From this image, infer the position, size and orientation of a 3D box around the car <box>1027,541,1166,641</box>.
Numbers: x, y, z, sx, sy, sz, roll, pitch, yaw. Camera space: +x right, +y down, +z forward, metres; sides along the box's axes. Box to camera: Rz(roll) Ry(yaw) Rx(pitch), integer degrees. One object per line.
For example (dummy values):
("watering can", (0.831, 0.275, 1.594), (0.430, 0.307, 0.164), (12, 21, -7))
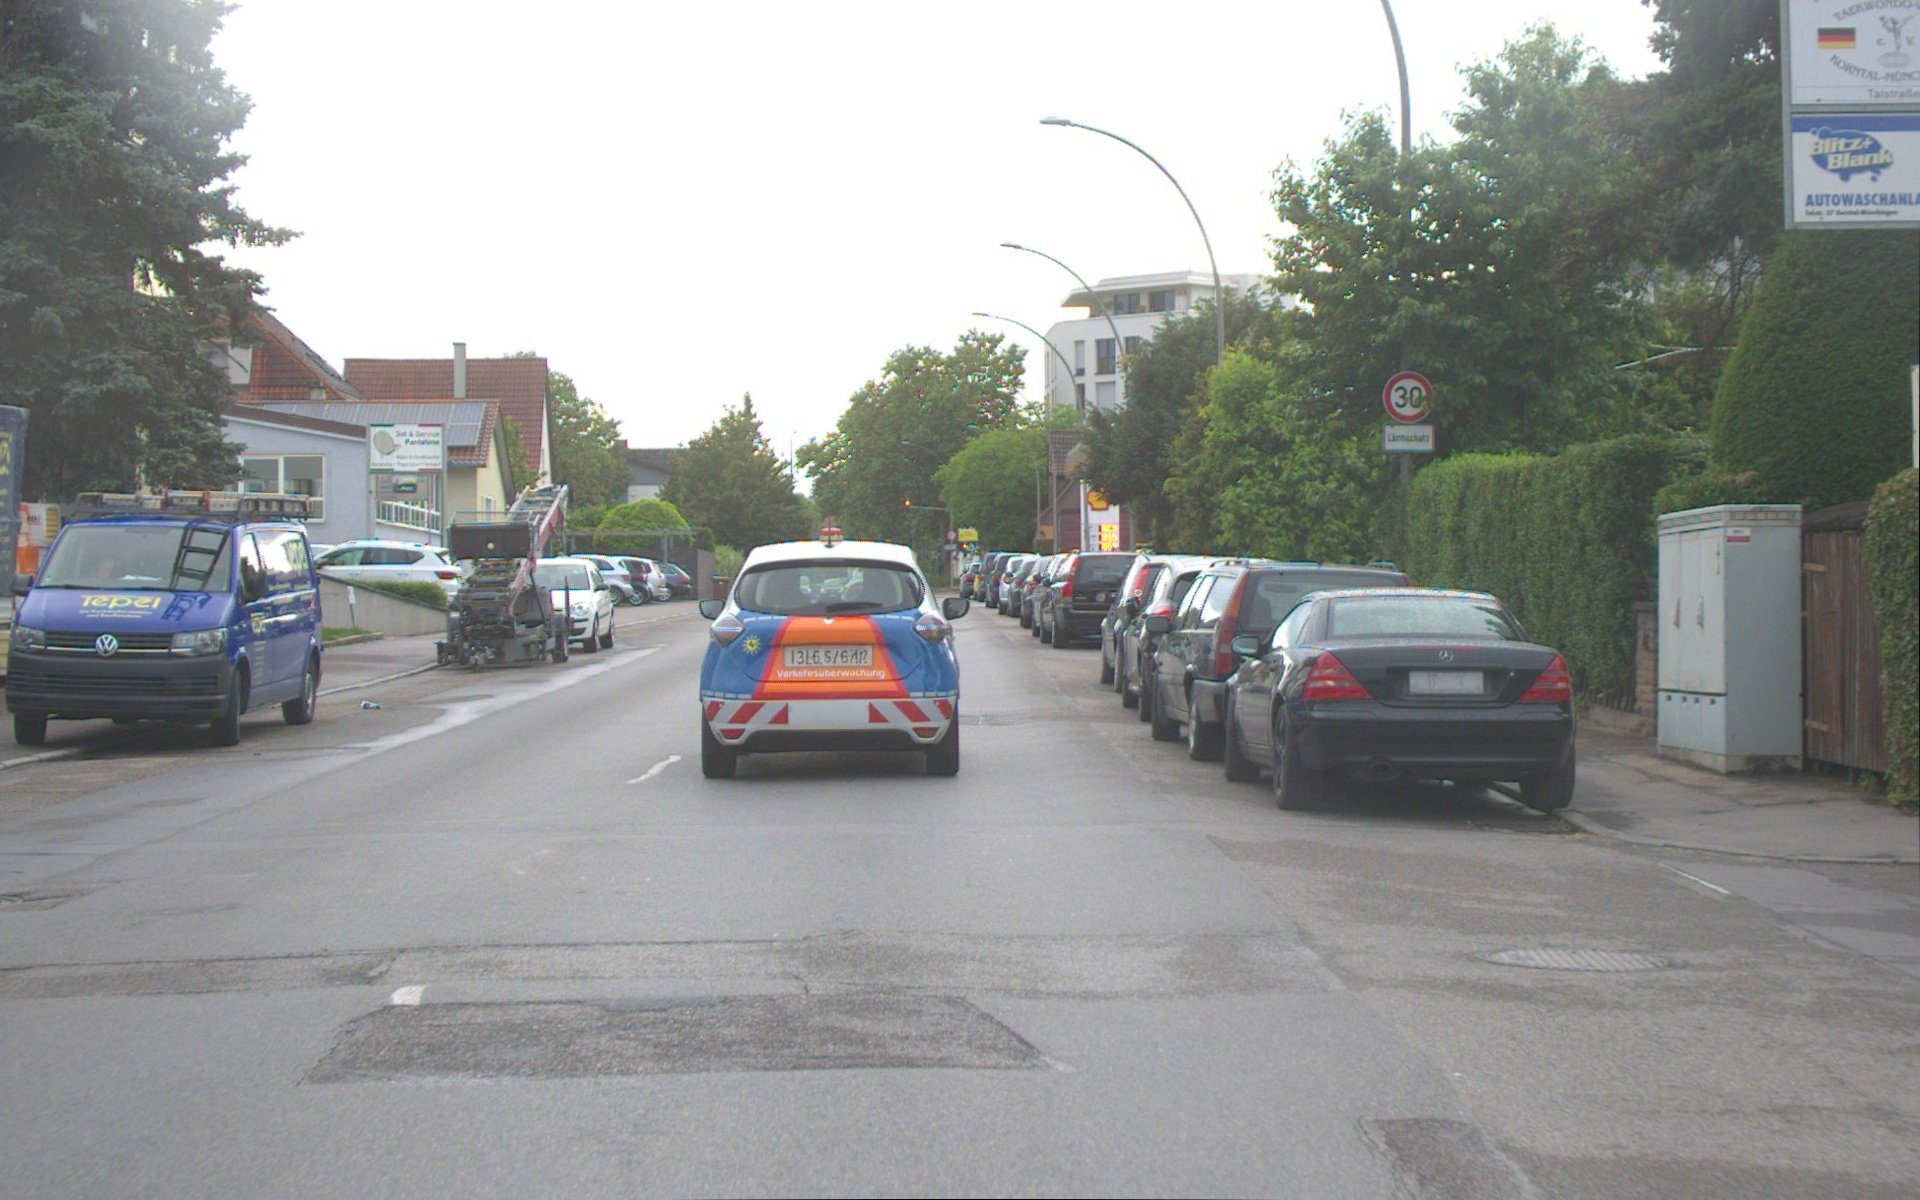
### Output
("car", (2.067, -0.148, 53.098), (1.711, 1.433, 4.527), (1, 0, -3))

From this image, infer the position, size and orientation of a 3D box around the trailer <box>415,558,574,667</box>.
("trailer", (-6.465, 0.139, 48.181), (1.717, 1.256, 5.245), (1, 2, -2))

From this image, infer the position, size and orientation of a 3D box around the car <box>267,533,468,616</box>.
("car", (-11.874, -0.506, 69.007), (3.759, 1.562, 1.655), (1, 0, -2))

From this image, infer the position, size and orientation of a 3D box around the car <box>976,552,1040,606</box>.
("car", (1.402, -0.619, 101.722), (1.650, 1.516, 4.000), (1, 0, -2))

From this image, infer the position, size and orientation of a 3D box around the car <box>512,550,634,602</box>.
("car", (-12.254, -0.760, 108.897), (3.759, 1.571, 1.655), (1, 0, -4))

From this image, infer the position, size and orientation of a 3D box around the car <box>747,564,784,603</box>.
("car", (-7.583, -0.659, 134.211), (1.386, 1.478, 3.784), (0, 1, -2))

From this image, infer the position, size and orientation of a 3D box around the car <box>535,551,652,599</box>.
("car", (-12.069, -0.814, 113.261), (3.759, 1.478, 1.655), (1, 0, -4))

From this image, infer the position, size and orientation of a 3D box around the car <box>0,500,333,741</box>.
("car", (-6.970, 0.129, 30.374), (1.993, 1.940, 5.366), (0, 1, -1))

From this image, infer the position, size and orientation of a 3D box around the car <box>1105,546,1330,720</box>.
("car", (2.292, 0.252, 31.455), (1.657, 1.444, 3.830), (1, 1, -1))

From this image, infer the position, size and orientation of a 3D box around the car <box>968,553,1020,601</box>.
("car", (1.199, -0.826, 123.495), (1.650, 1.666, 4.000), (1, 0, -2))

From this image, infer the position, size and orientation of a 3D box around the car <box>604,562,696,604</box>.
("car", (-11.289, -0.620, 125.177), (3.281, 1.443, 1.480), (-1, 1, -4))

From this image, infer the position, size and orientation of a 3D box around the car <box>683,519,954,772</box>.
("car", (-0.948, 0.281, 23.807), (1.731, 1.625, 3.495), (0, 0, -1))

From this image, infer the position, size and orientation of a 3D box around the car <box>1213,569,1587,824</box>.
("car", (2.614, 0.521, 21.286), (1.589, 1.336, 4.093), (2, 1, -2))

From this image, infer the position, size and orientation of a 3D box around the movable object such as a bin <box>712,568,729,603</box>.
("movable object such as a bin", (-8.303, -0.514, 119.237), (0.579, 1.200, 0.318), (1, 0, 0))

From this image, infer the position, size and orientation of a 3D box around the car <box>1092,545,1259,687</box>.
("car", (2.298, 0.141, 37.353), (1.487, 1.434, 3.807), (1, 1, -1))

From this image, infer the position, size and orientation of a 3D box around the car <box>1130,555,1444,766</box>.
("car", (2.359, 0.401, 25.905), (1.656, 1.414, 4.777), (1, 0, -3))

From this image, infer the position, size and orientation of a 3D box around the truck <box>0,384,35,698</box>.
("truck", (-12.320, -0.630, 33.456), (5.911, 3.063, 2.449), (1, 0, 0))

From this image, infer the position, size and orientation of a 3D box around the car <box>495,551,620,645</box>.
("car", (-6.475, -0.046, 55.609), (1.557, 1.428, 4.000), (1, 0, -1))

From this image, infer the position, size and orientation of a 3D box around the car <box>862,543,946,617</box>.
("car", (-1.217, -0.427, 73.247), (1.650, 1.516, 4.000), (1, 0, -2))

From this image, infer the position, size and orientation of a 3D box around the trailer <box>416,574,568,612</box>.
("trailer", (-13.033, -0.198, 95.845), (4.022, 0.991, 1.655), (1, 0, -2))
